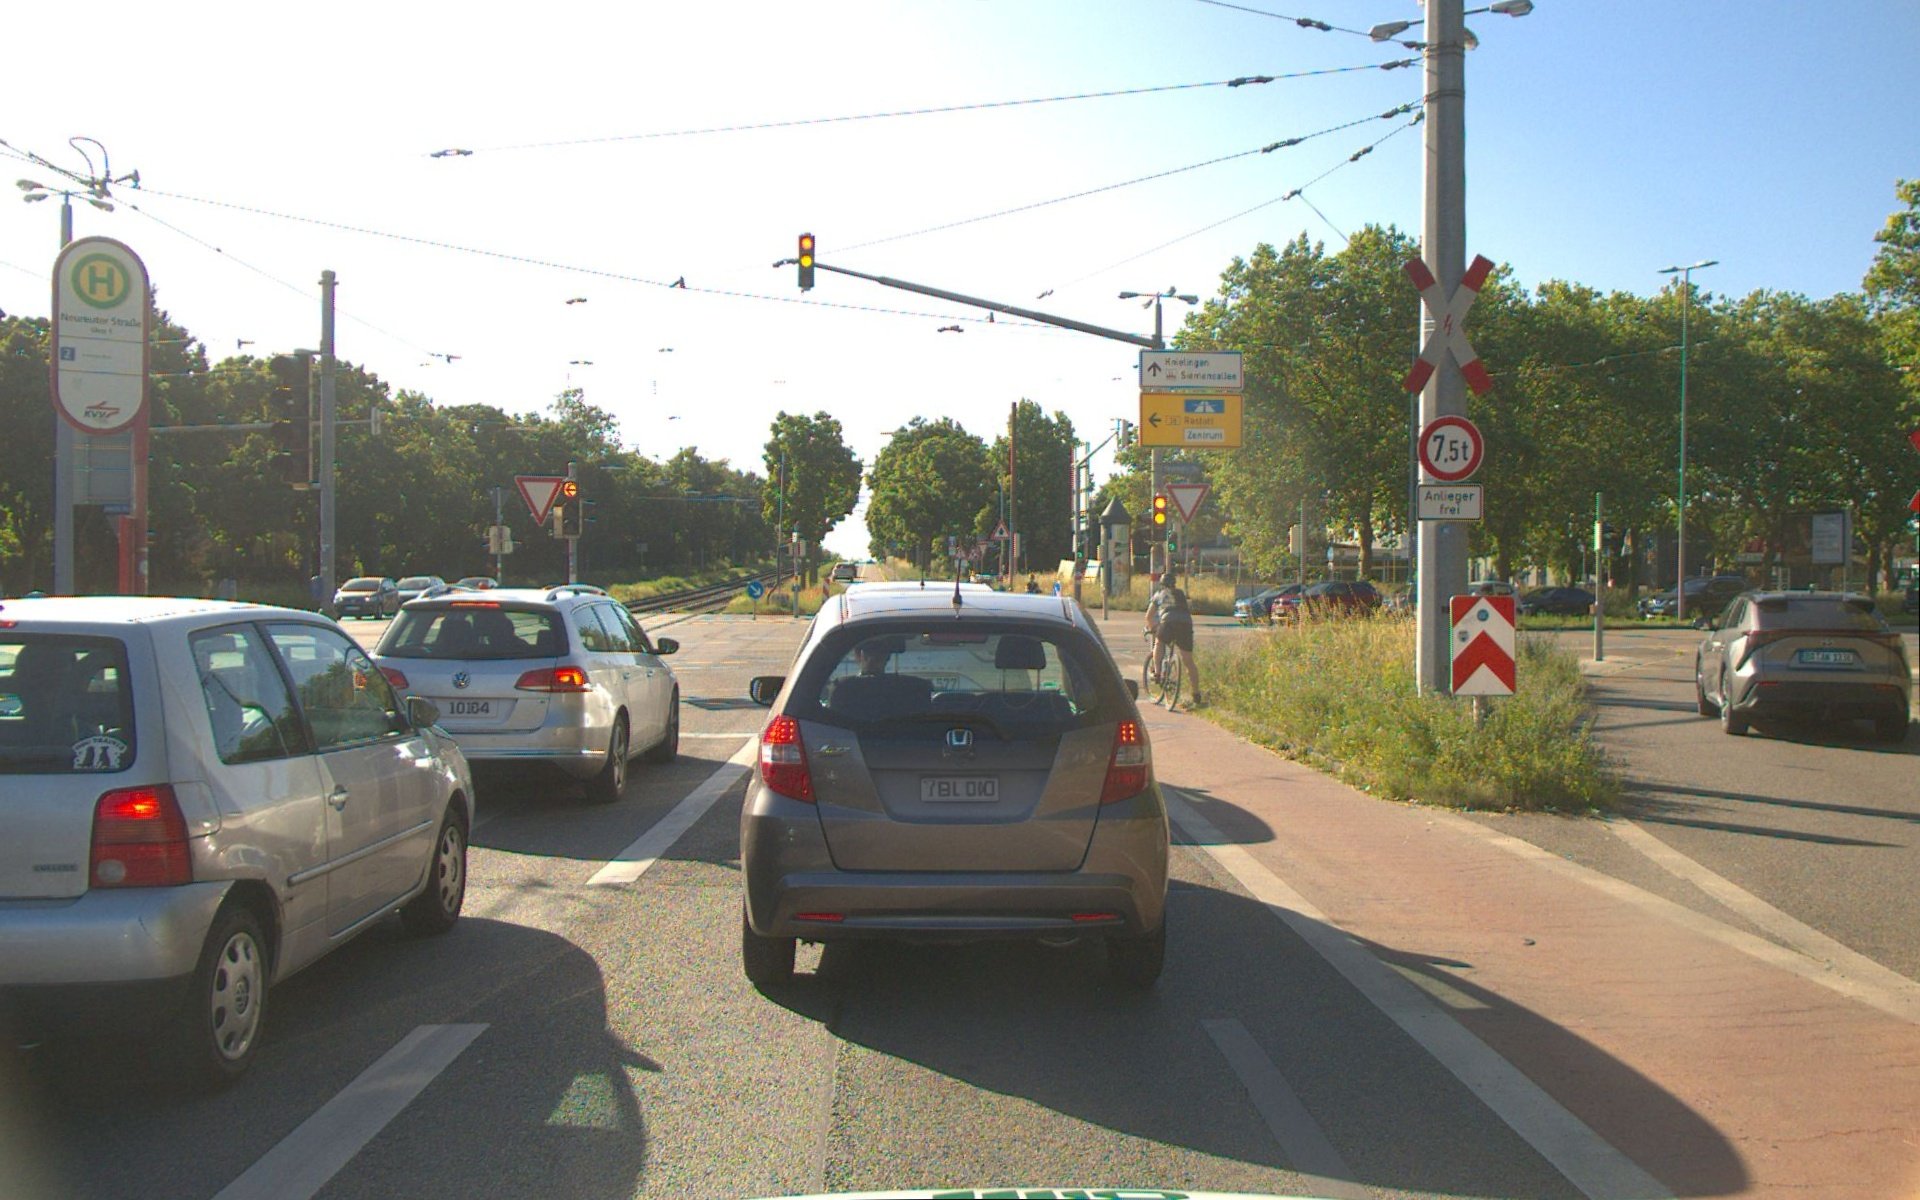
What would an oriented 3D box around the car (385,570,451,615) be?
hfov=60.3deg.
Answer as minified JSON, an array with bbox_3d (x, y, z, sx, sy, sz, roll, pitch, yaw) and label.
[{"bbox_3d":[-21.285,-0.322,65.118,1.757,1.717,3.994,0,1,-8],"label":"car"}]

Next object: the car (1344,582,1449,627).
[{"bbox_3d":[16.636,0.150,62.972,3.806,1.628,1.696,-1,0,-30],"label":"car"}]

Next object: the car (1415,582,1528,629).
[{"bbox_3d":[18.428,0.167,59.572,3.800,1.628,1.699,-1,0,-26],"label":"car"}]

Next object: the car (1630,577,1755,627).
[{"bbox_3d":[26.432,0.043,59.666,4.431,1.741,1.902,-1,0,-30],"label":"car"}]

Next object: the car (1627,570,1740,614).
[{"bbox_3d":[30.294,-0.314,69.254,4.708,1.711,1.891,1,0,-29],"label":"car"}]

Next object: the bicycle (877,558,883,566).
[{"bbox_3d":[-11.954,-5.688,246.791,0.801,1.066,2.505,1,0,-2],"label":"bicycle"}]

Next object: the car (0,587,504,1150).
[{"bbox_3d":[-2.877,0.707,6.116,1.549,1.494,3.413,0,1,-2],"label":"car"}]

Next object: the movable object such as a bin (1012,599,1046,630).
[{"bbox_3d":[2.552,0.526,61.240,0.894,1.087,1.311,1,0,-15],"label":"movable object such as a bin"}]

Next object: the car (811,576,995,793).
[{"bbox_3d":[-0.474,0.596,13.520,1.324,1.554,3.122,0,0,-2],"label":"car"}]

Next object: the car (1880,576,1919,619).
[{"bbox_3d":[49.217,-0.138,83.251,5.018,2.106,2.122,0,1,-15],"label":"car"}]

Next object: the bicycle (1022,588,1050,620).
[{"bbox_3d":[2.725,0.126,59.588,0.459,1.138,1.812,0,1,-16],"label":"bicycle"}]

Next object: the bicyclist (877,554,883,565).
[{"bbox_3d":[-11.939,-6.061,246.812,0.801,1.551,0.965,1,0,-2],"label":"bicyclist"}]

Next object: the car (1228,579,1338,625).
[{"bbox_3d":[11.790,0.055,60.352,3.806,1.628,1.696,-1,0,-30],"label":"car"}]

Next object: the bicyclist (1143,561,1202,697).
[{"bbox_3d":[2.715,0.357,21.234,0.603,1.709,0.933,0,0,-2],"label":"bicyclist"}]

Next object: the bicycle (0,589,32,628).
[{"bbox_3d":[-26.950,0.232,46.638,0.497,1.060,1.948,0,1,-2],"label":"bicycle"}]

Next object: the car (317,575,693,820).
[{"bbox_3d":[-3.272,0.603,12.813,1.839,1.554,4.419,0,0,-2],"label":"car"}]

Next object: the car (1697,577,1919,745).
[{"bbox_3d":[9.814,0.619,19.345,1.783,1.734,3.775,1,1,18],"label":"car"}]

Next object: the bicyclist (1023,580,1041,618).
[{"bbox_3d":[2.614,-0.040,60.068,0.501,1.364,0.562,0,0,-17],"label":"bicyclist"}]

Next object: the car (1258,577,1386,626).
[{"bbox_3d":[12.292,0.031,56.174,4.026,1.628,1.801,-1,0,-26],"label":"car"}]

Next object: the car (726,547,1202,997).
[{"bbox_3d":[-0.009,0.576,7.557,1.637,1.542,3.673,0,0,-1],"label":"car"}]

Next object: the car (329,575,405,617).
[{"bbox_3d":[-21.215,-0.159,59.302,1.650,1.484,3.700,0,1,-5],"label":"car"}]

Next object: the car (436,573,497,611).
[{"bbox_3d":[-21.849,-0.387,73.420,1.778,1.624,4.686,0,1,-7],"label":"car"}]

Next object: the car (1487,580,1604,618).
[{"bbox_3d":[23.399,-0.063,66.065,4.503,1.432,1.917,-1,0,-28],"label":"car"}]

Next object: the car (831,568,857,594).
[{"bbox_3d":[-9.476,-1.561,134.915,1.953,2.049,3.998,1,0,-2],"label":"car"}]

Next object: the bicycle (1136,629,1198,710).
[{"bbox_3d":[2.658,0.870,21.392,0.513,0.939,2.089,0,0,-1],"label":"bicycle"}]

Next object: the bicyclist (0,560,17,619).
[{"bbox_3d":[-26.935,-0.297,46.505,0.479,1.636,0.648,0,0,-2],"label":"bicyclist"}]
